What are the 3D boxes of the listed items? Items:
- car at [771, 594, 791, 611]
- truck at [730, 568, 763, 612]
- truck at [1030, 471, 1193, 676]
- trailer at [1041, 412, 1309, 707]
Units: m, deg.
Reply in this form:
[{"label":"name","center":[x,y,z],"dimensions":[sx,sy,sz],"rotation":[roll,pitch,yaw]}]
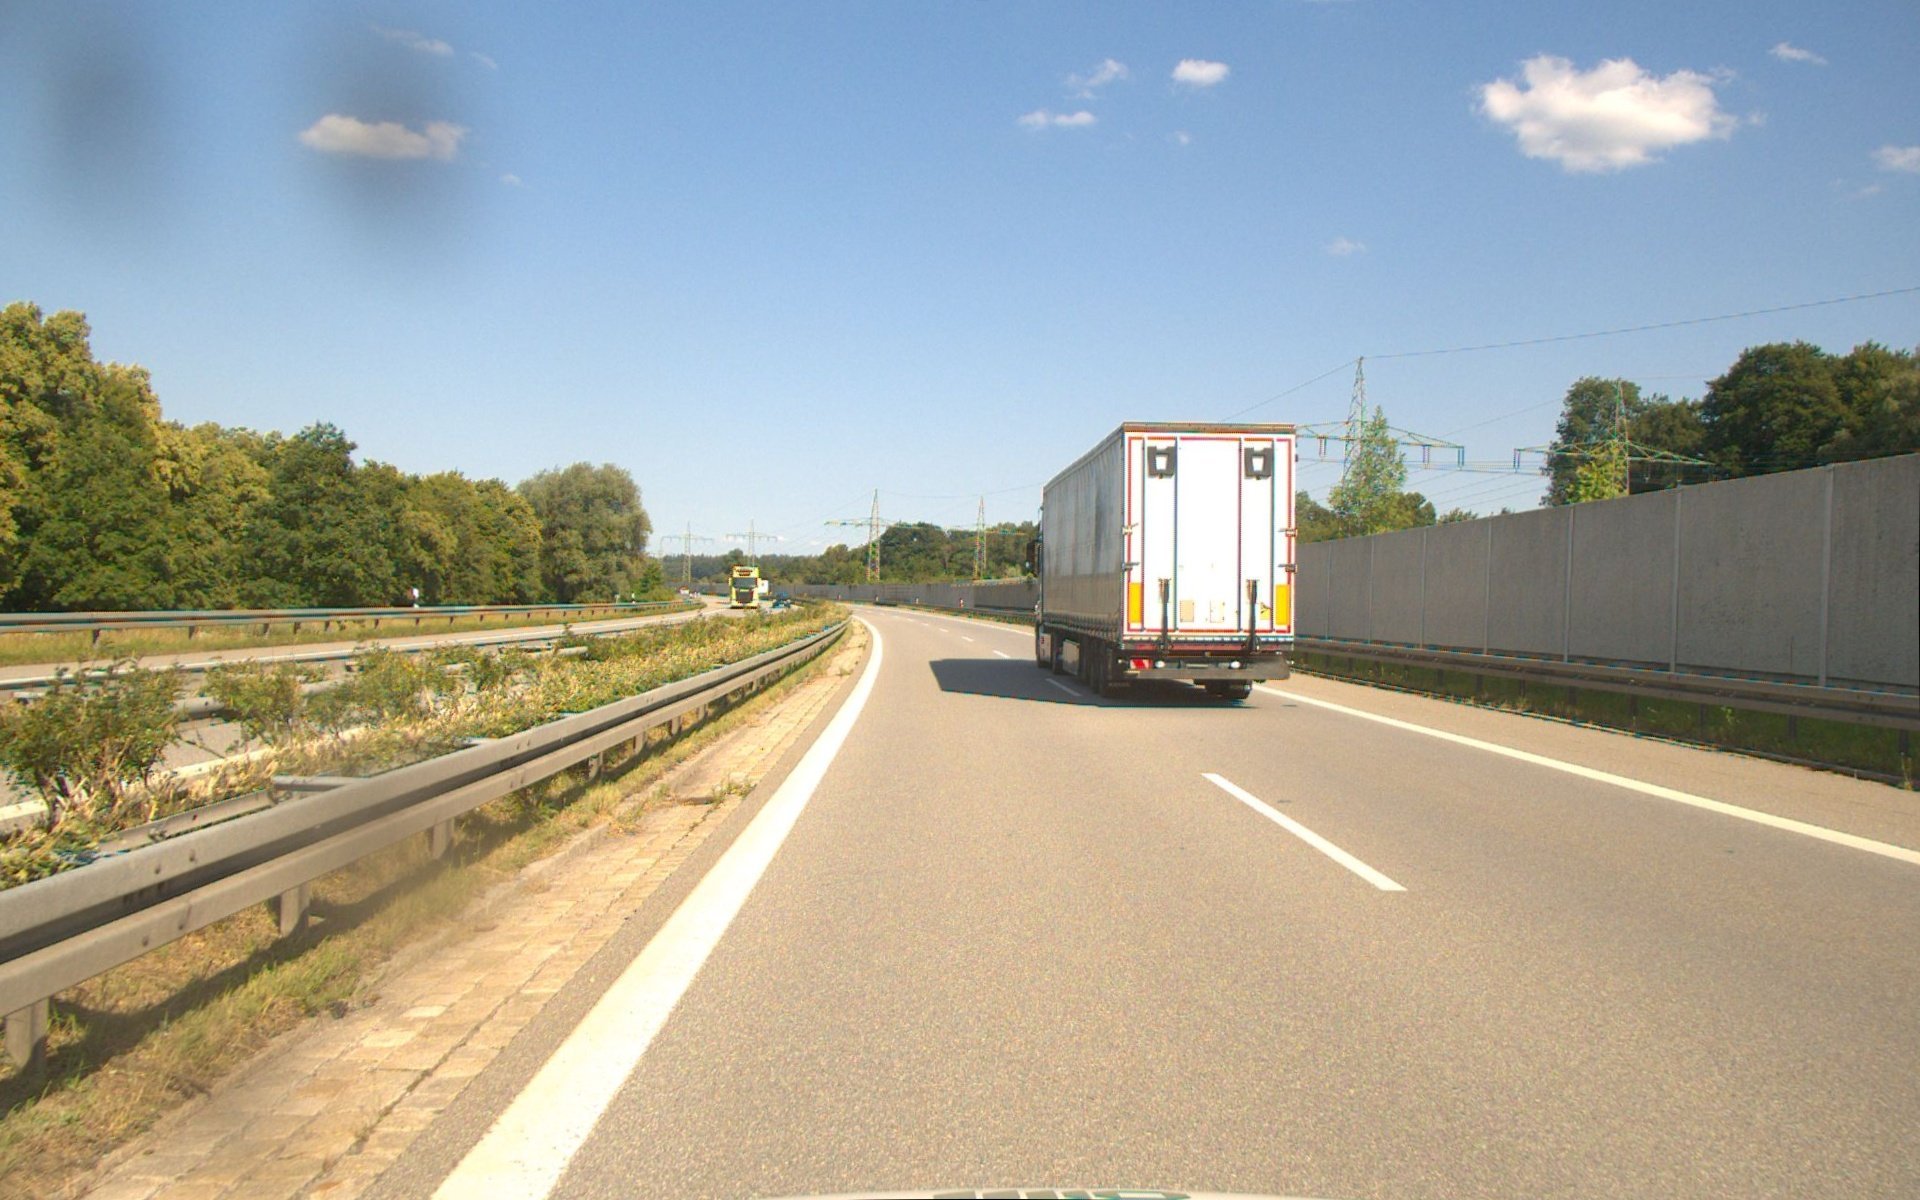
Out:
[{"label":"car","center":[-18.106,0.254,166.881],"dimensions":[1.956,1.700,3.994],"rotation":[-1,0,-7]},{"label":"truck","center":[-20.003,-0.926,155.157],"dimensions":[2.705,3.975,8.760],"rotation":[-1,0,-6]},{"label":"truck","center":[3.171,-0.533,36.341],"dimensions":[2.773,4.082,6.585],"rotation":[-1,0,-2]},{"label":"trailer","center":[3.344,-0.581,29.524],"dimensions":[2.826,4.137,12.416],"rotation":[-1,0,-1]}]
